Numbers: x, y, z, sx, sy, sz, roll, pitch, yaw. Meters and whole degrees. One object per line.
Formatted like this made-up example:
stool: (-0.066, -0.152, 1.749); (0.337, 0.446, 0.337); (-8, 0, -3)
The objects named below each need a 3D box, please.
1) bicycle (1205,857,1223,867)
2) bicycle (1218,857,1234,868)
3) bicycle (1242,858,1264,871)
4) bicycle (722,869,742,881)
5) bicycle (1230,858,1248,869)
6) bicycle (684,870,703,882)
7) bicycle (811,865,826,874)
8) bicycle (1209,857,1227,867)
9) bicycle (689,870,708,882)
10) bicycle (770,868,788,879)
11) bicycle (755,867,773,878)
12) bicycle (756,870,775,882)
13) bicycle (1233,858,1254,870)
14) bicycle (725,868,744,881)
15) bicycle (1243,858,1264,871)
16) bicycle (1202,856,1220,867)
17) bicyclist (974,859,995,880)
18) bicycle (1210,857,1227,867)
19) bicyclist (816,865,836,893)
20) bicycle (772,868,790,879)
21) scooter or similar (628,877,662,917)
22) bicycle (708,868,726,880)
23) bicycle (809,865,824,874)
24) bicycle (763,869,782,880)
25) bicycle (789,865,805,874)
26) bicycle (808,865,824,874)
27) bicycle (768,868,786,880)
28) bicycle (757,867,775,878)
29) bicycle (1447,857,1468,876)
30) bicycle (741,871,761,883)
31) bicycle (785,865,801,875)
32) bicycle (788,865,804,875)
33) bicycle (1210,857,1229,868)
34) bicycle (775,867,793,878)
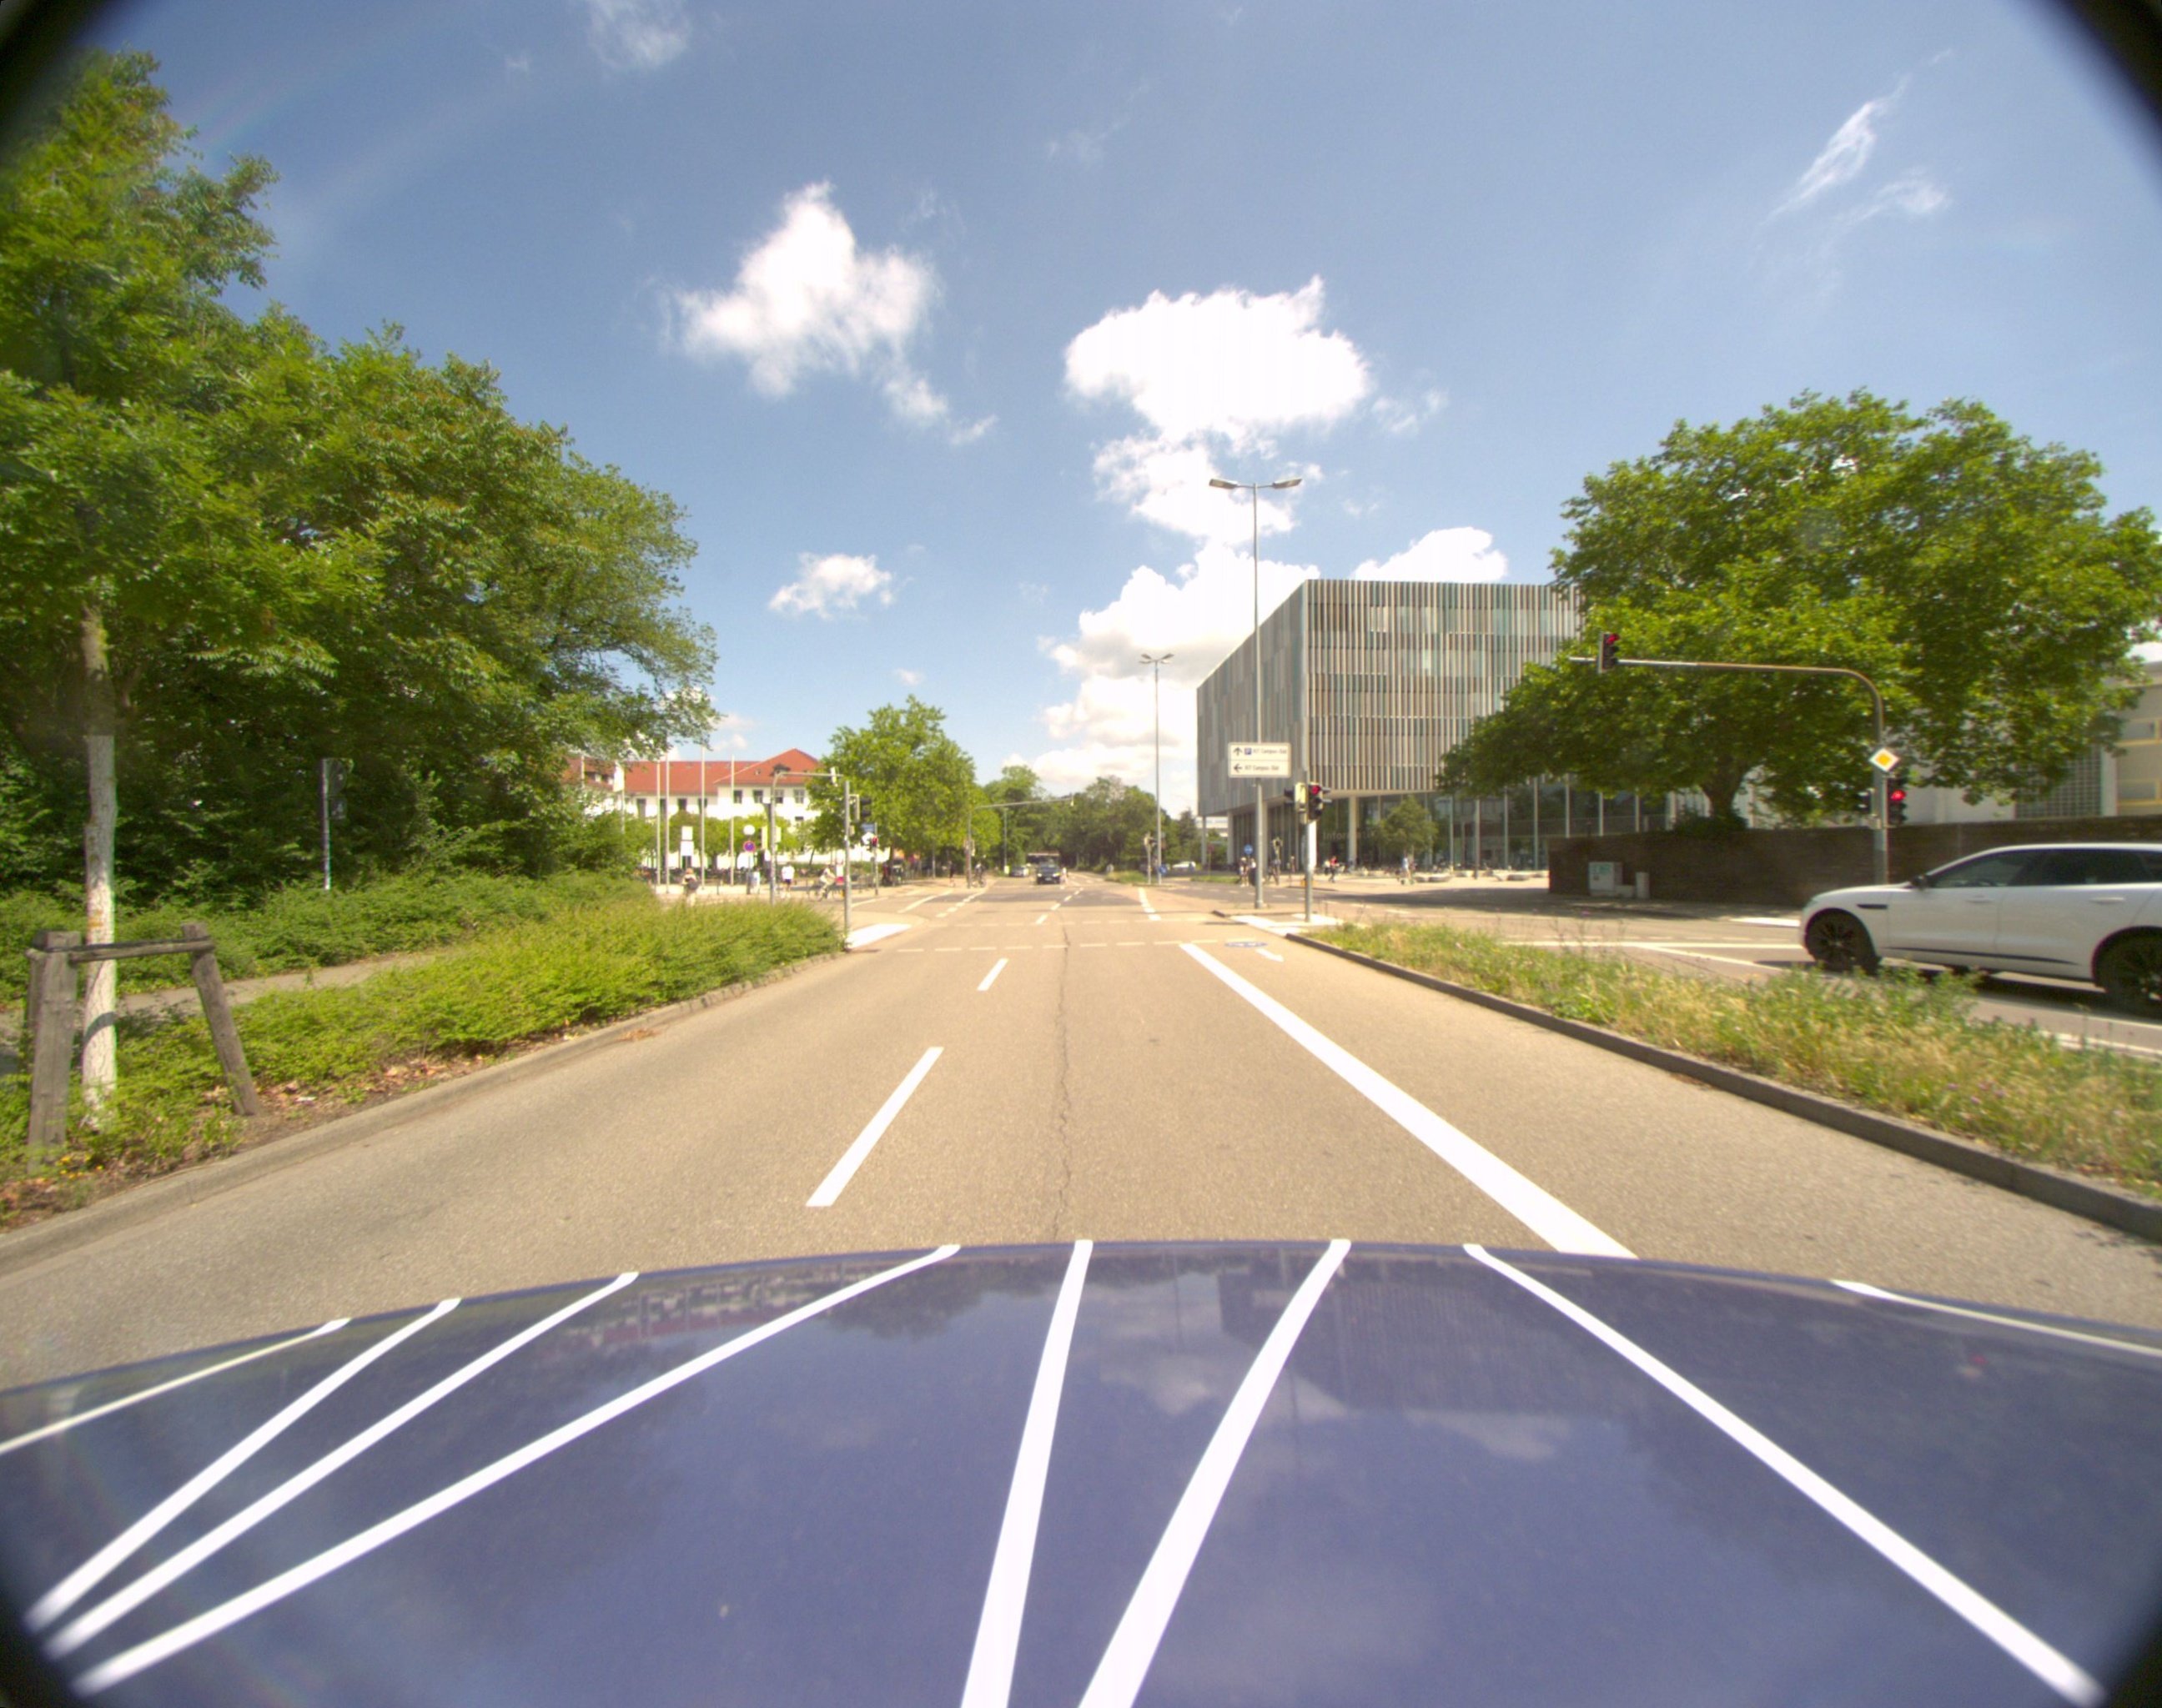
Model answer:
bicycle: (19.371, 1.121, 110.835); (2.511, 1.486, 0.621); (-1, 0, -1)
bicycle: (19.940, 1.172, 104.411); (2.071, 1.486, 0.621); (-1, 0, -1)
bicycle: (20.694, 1.279, 91.309); (2.452, 1.486, 0.621); (-1, 0, -1)
bicycle: (-27.888, 1.675, 60.763); (1.371, 0.995, 0.352); (-1, 0, -7)
bicycle: (20.349, 1.223, 98.084); (2.200, 1.486, 0.621); (-1, 0, -1)
bicycle: (-30.855, 1.727, 60.483); (1.370, 0.945, 0.352); (-1, 0, 2)
bicycle: (-26.529, 1.548, 76.778); (1.429, 0.945, 0.352); (-1, 0, -7)
bicycle: (19.509, 1.144, 108.076); (2.511, 1.486, 0.621); (-1, 0, -1)
bicycle: (-30.684, 1.725, 60.923); (1.370, 0.945, 0.352); (-1, 0, 2)
bicycle: (-25.833, 1.676, 65.068); (1.371, 0.945, 0.352); (-1, 1, -7)
bicycle: (-27.647, 1.650, 66.328); (1.412, 0.945, 0.352); (-1, 0, -7)
bicycle: (-25.693, 1.762, 61.899); (1.371, 0.945, 0.352); (-1, 0, -7)
bicycle: (20.288, 1.250, 94.986); (2.511, 1.486, 0.621); (-1, 0, -1)
bicycle: (-27.932, 1.664, 61.269); (1.371, 0.995, 0.352); (-1, 0, -7)
bicycle: (20.952, 1.266, 92.322); (2.509, 1.486, 0.730); (-1, 0, 9)
bicycle: (19.091, 1.116, 111.760); (2.511, 1.486, 0.621); (-1, 0, -1)
bicyclist: (-6.814, 1.055, 53.402); (1.074, 1.436, 0.974); (-1, 1, 43)
bicycle: (19.696, 1.133, 109.150); (2.330, 1.486, 0.621); (-1, 0, -1)
bicyclist: (-11.407, 1.098, 33.993); (0.834, 1.219, 0.617); (-1, 0, -18)
bicycle: (-25.918, 1.653, 65.715); (1.371, 0.945, 0.352); (-1, 0, -7)
scooter or similar: (-14.031, 1.366, 24.443); (1.227, 1.226, 0.438); (0, -1, 35)
bicycle: (-31.131, 1.697, 65.006); (1.372, 0.945, 0.352); (-1, 0, -10)
bicycle: (-26.516, 1.553, 76.199); (1.429, 0.945, 0.352); (-1, 0, -7)
bicycle: (-25.409, 1.684, 62.521); (1.371, 0.945, 0.352); (-1, 0, -7)
bicycle: (-28.493, 1.571, 76.290); (1.429, 0.945, 0.352); (-1, 0, -7)
bicycle: (-26.422, 1.557, 75.690); (1.429, 0.945, 0.352); (-1, 0, -7)
bicycle: (-25.276, 1.654, 63.233); (1.371, 0.945, 0.352); (-1, 0, -7)
bicycle: (-27.683, 1.645, 66.867); (1.412, 0.945, 0.352); (-1, 0, -7)
bicycle: (31.027, 1.012, 62.545); (0.997, 1.543, 3.422); (0, 0, 35)
bicycle: (-25.979, 1.833, 59.769); (1.371, 0.945, 0.352); (-1, 0, -7)
bicycle: (-28.470, 1.580, 75.212); (1.429, 0.945, 0.352); (-1, 0, -7)
bicycle: (-28.428, 1.574, 75.881); (1.429, 0.945, 0.352); (-1, 0, -7)
bicycle: (19.449, 1.154, 106.961); (2.511, 1.486, 0.621); (-1, 0, -1)
bicycle: (-25.961, 1.633, 66.372); (1.371, 0.945, 0.352); (-1, 0, -7)
